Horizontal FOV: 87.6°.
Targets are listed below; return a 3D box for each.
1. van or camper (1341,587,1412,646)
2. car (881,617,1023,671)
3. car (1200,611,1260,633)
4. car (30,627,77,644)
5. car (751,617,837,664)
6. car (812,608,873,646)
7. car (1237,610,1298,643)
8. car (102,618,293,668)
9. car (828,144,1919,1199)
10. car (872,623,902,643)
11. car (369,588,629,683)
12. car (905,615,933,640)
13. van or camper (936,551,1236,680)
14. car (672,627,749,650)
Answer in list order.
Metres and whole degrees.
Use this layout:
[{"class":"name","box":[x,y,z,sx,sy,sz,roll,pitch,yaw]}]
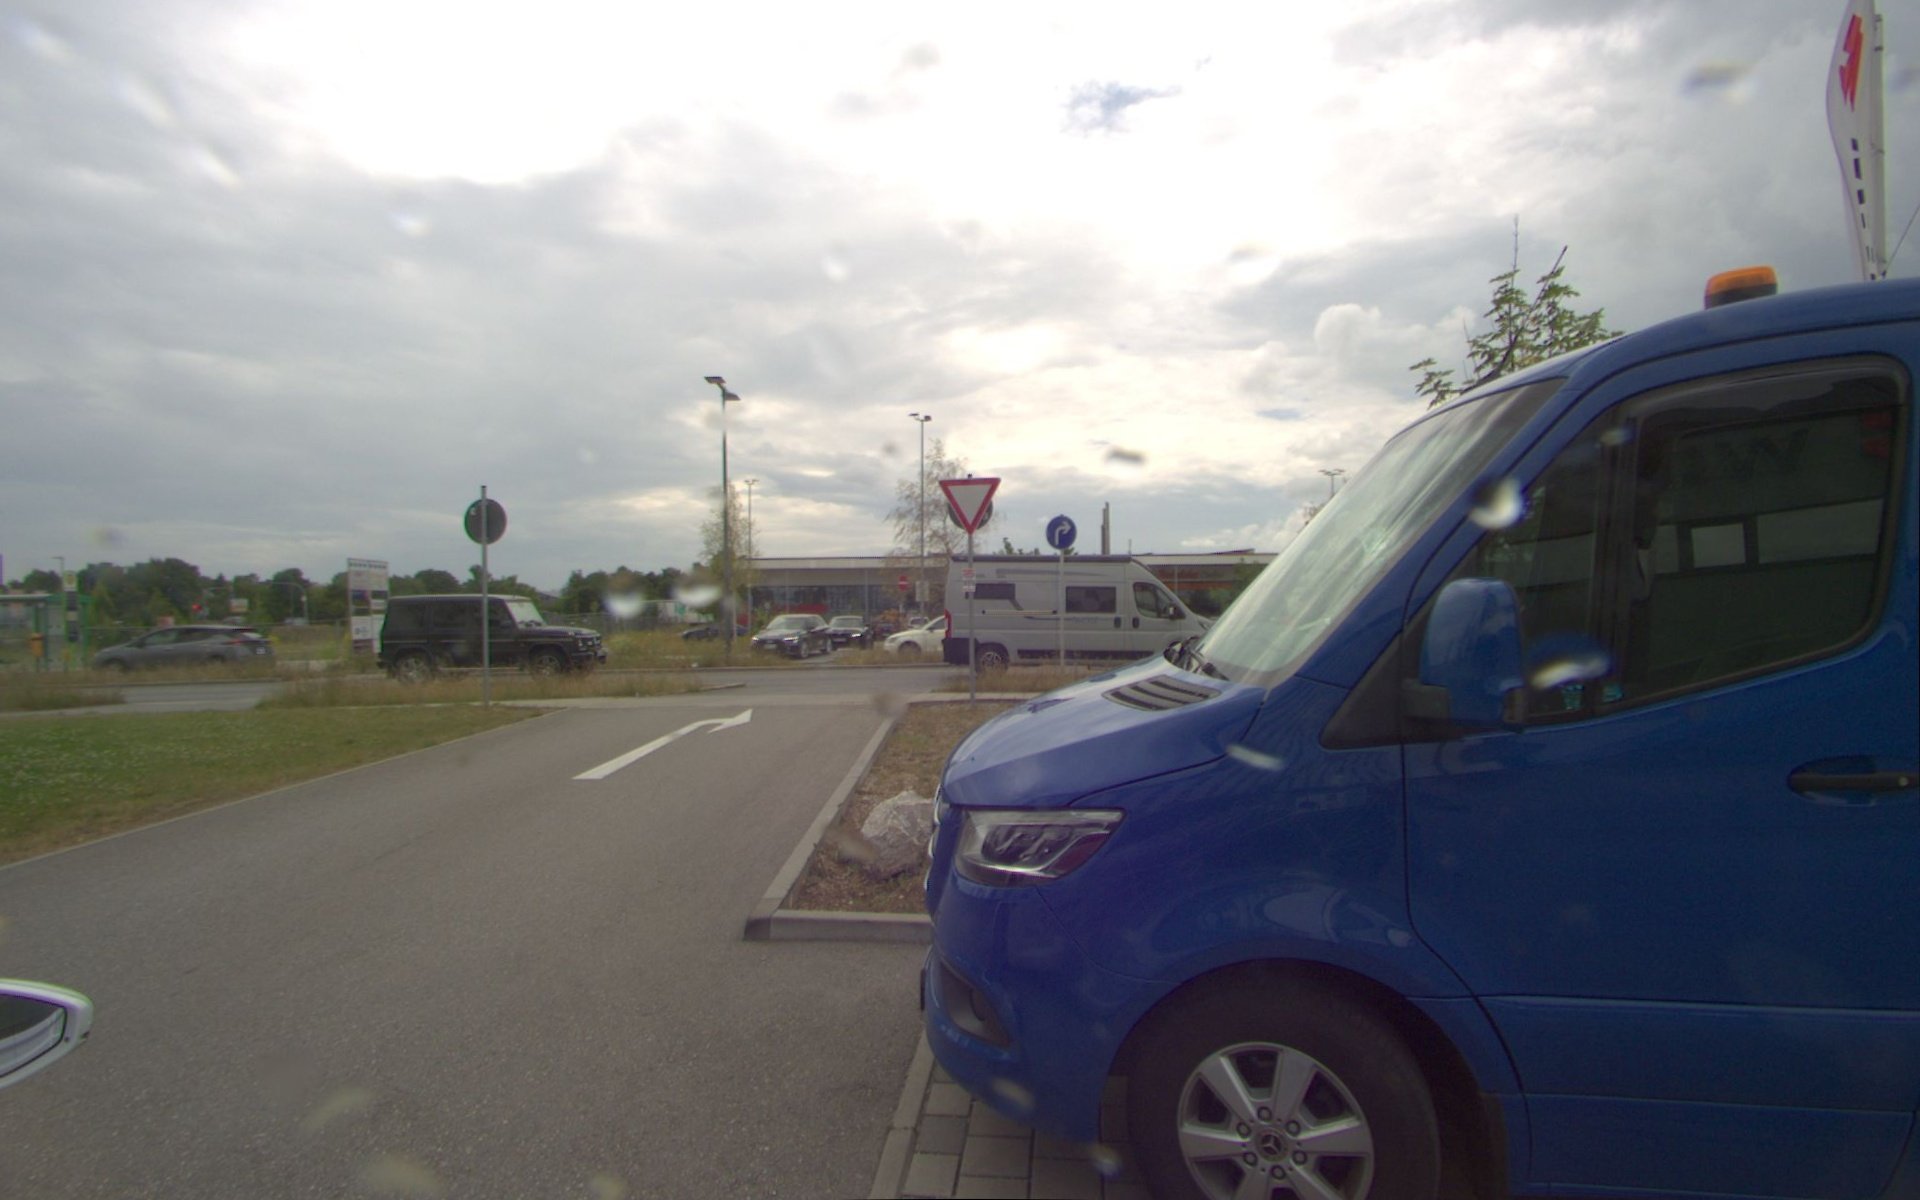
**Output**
[{"class":"van or camper","box":[18.544,0.749,44.766,2.247,2.525,3.998,0,-1,12]},{"class":"car","box":[-0.244,1.256,28.960,3.977,1.500,1.759,0,-1,-2]},{"class":"car","box":[19.836,1.605,73.689,3.922,1.528,2.000,0,-1,0]},{"class":"car","box":[-87.326,3.399,96.529,1.649,1.505,3.640,0,-1,-9]},{"class":"car","box":[-5.580,1.334,34.101,1.763,1.486,4.320,0,-1,7]},{"class":"car","box":[-4.742,1.107,40.969,1.751,1.464,4.611,0,-1,2]},{"class":"car","box":[14.192,1.225,46.412,1.956,1.469,4.150,0,-2,7]},{"class":"car","box":[-21.475,1.191,28.314,3.986,1.360,1.718,0,-1,-4]},{"class":"car","box":[3.674,0.306,2.741,7.707,2.353,2.200,0,0,10]},{"class":"car","box":[-5.390,2.439,74.492,1.875,1.462,4.001,-1,-1,1]},{"class":"car","box":[-9.962,0.759,21.943,4.753,1.949,2.000,0,0,-1]},{"class":"car","box":[-3.049,2.045,74.822,1.794,1.722,4.233,0,0,1]},{"class":"van or camper","box":[2.589,0.319,21.440,6.045,2.575,2.196,0,0,3]},{"class":"car","box":[-17.128,2.632,68.969,4.927,1.578,2.000,0,-1,-5]}]
